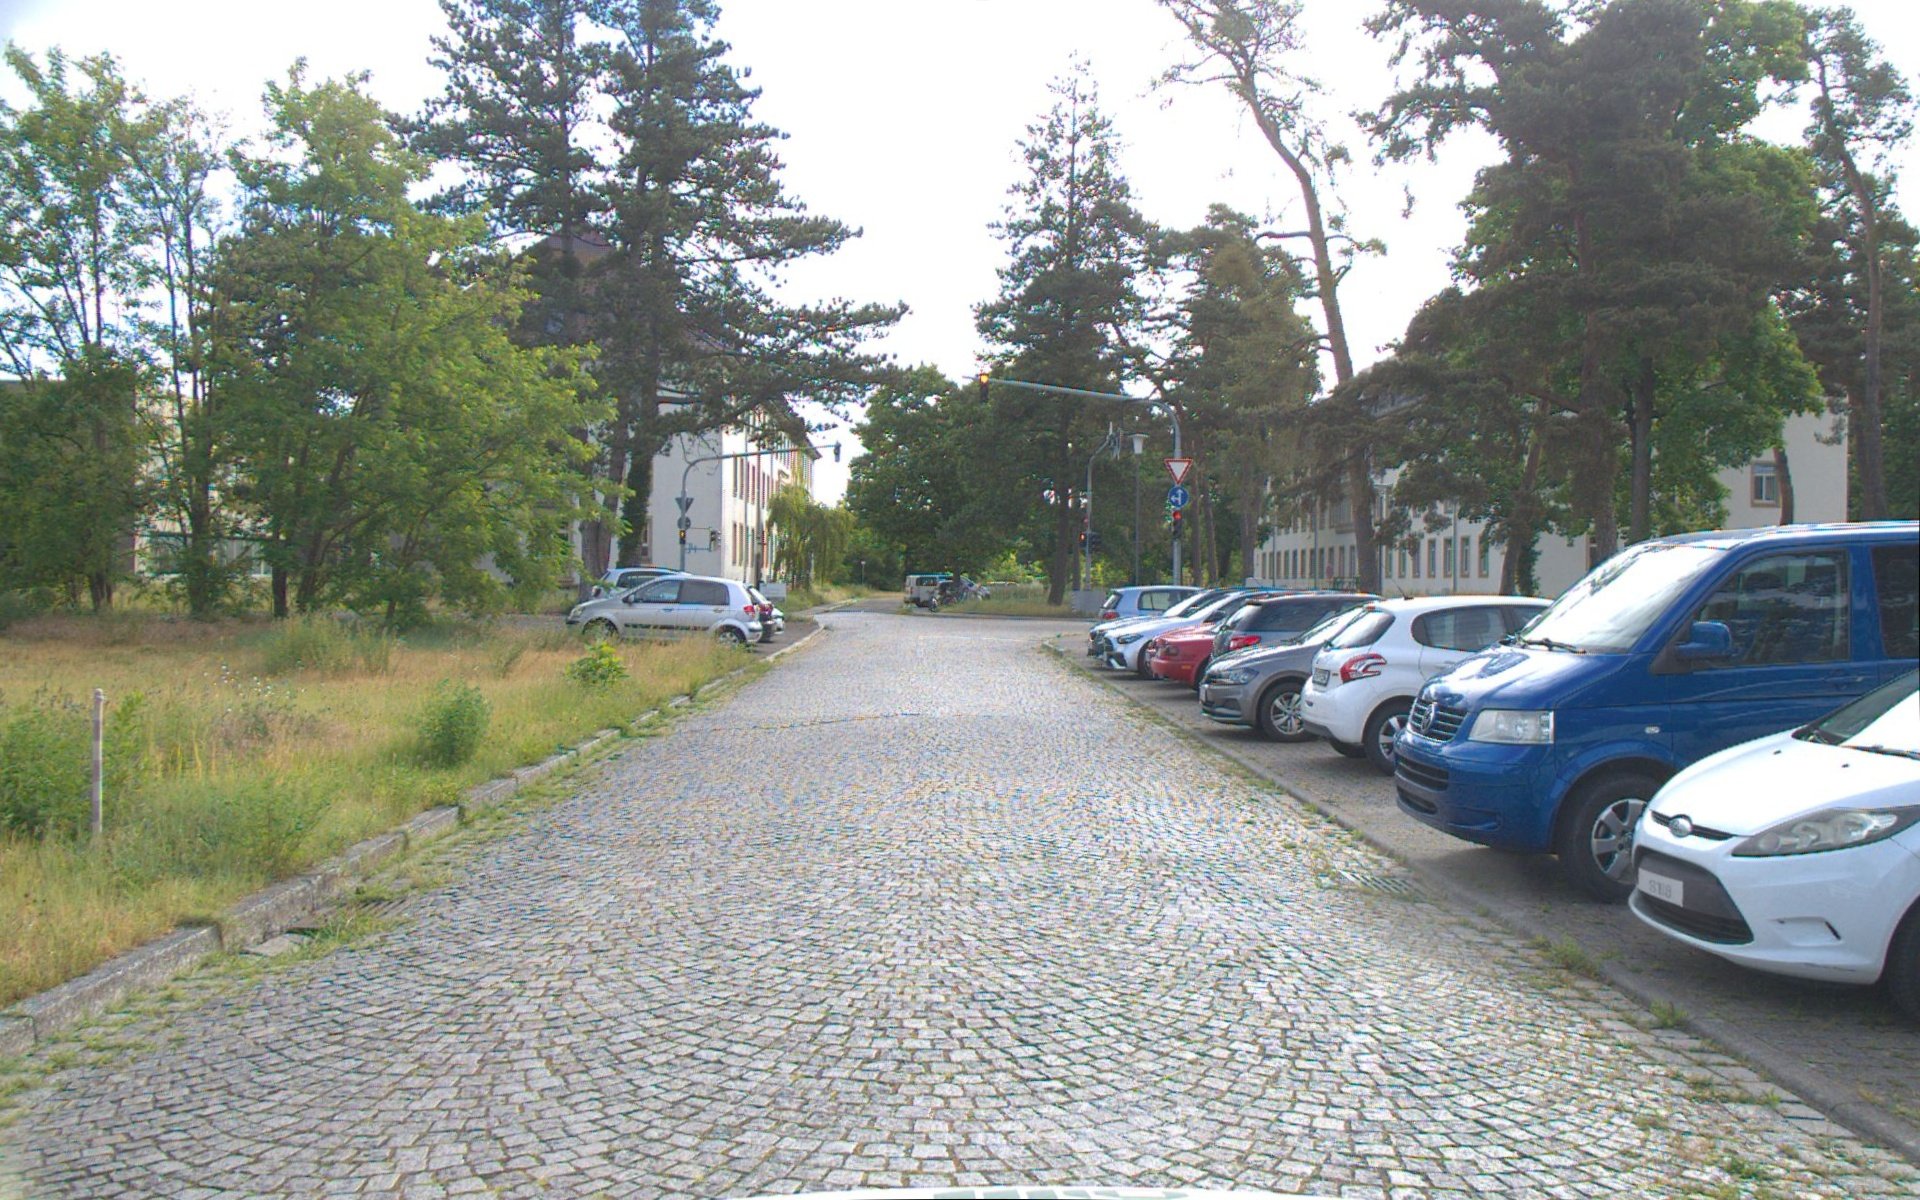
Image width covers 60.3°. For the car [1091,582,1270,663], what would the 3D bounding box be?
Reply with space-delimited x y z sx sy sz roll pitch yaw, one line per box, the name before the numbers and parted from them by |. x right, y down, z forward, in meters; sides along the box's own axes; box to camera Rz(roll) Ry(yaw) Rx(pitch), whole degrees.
car | 4.408 0.436 33.210 3.324 1.570 1.389 0 1 -7

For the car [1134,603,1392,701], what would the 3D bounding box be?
car | 4.224 0.720 23.338 3.230 1.289 1.661 0 1 -7

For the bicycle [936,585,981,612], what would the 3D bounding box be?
bicycle | -0.086 -0.069 82.059 2.120 1.290 0.811 1 0 -8

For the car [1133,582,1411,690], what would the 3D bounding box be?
car | 4.780 0.536 25.602 3.911 1.570 1.661 1 0 -7

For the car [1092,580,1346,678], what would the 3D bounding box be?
car | 4.314 0.475 27.821 3.911 1.570 1.661 0 1 -7

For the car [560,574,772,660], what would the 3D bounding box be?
car | -5.631 0.309 32.091 3.912 1.579 1.997 0 1 -8

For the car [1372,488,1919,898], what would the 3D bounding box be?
car | 4.915 0.485 9.396 4.687 2.075 1.737 1 1 -4

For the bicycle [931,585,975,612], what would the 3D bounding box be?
bicycle | -0.368 -0.075 83.852 2.120 1.290 0.811 1 0 -8

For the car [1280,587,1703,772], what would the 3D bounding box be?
car | 4.671 0.672 14.820 3.227 1.531 1.663 1 1 -4

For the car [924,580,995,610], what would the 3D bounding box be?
car | -0.063 -0.315 96.609 3.912 1.673 1.997 1 1 -8

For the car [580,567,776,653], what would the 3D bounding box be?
car | -5.833 0.196 34.574 3.912 1.735 1.997 0 1 -8

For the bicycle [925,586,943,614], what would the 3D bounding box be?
bicycle | -1.222 -0.011 78.265 0.793 1.290 1.973 1 1 0

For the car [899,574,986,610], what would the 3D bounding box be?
car | -1.089 -0.478 99.855 4.962 2.049 1.994 1 0 -12

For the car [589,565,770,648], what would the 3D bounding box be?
car | -6.323 0.146 37.511 3.913 1.780 1.923 1 0 -9

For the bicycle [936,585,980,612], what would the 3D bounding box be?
bicycle | -0.105 -0.069 82.646 2.120 1.290 0.811 1 0 -8

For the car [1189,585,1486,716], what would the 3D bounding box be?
car | 4.667 0.602 20.635 3.234 1.530 1.659 0 1 -12

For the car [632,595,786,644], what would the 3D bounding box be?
car | -6.011 0.456 39.841 3.601 1.113 1.644 0 1 -8

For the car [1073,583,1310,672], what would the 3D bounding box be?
car | 4.248 0.498 30.635 4.044 1.570 1.661 0 1 -7

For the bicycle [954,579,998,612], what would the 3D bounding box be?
bicycle | 0.791 -0.216 83.383 2.120 1.644 0.811 1 0 -8

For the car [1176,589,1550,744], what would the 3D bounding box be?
car | 4.276 0.670 17.745 3.535 1.533 1.659 0 1 -12

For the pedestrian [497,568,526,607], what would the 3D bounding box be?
pedestrian | -17.793 -0.515 65.633 0.880 1.524 0.904 1 0 -1

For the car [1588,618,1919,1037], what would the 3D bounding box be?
car | 4.767 0.815 6.920 3.649 1.449 1.653 -1 1 -4
